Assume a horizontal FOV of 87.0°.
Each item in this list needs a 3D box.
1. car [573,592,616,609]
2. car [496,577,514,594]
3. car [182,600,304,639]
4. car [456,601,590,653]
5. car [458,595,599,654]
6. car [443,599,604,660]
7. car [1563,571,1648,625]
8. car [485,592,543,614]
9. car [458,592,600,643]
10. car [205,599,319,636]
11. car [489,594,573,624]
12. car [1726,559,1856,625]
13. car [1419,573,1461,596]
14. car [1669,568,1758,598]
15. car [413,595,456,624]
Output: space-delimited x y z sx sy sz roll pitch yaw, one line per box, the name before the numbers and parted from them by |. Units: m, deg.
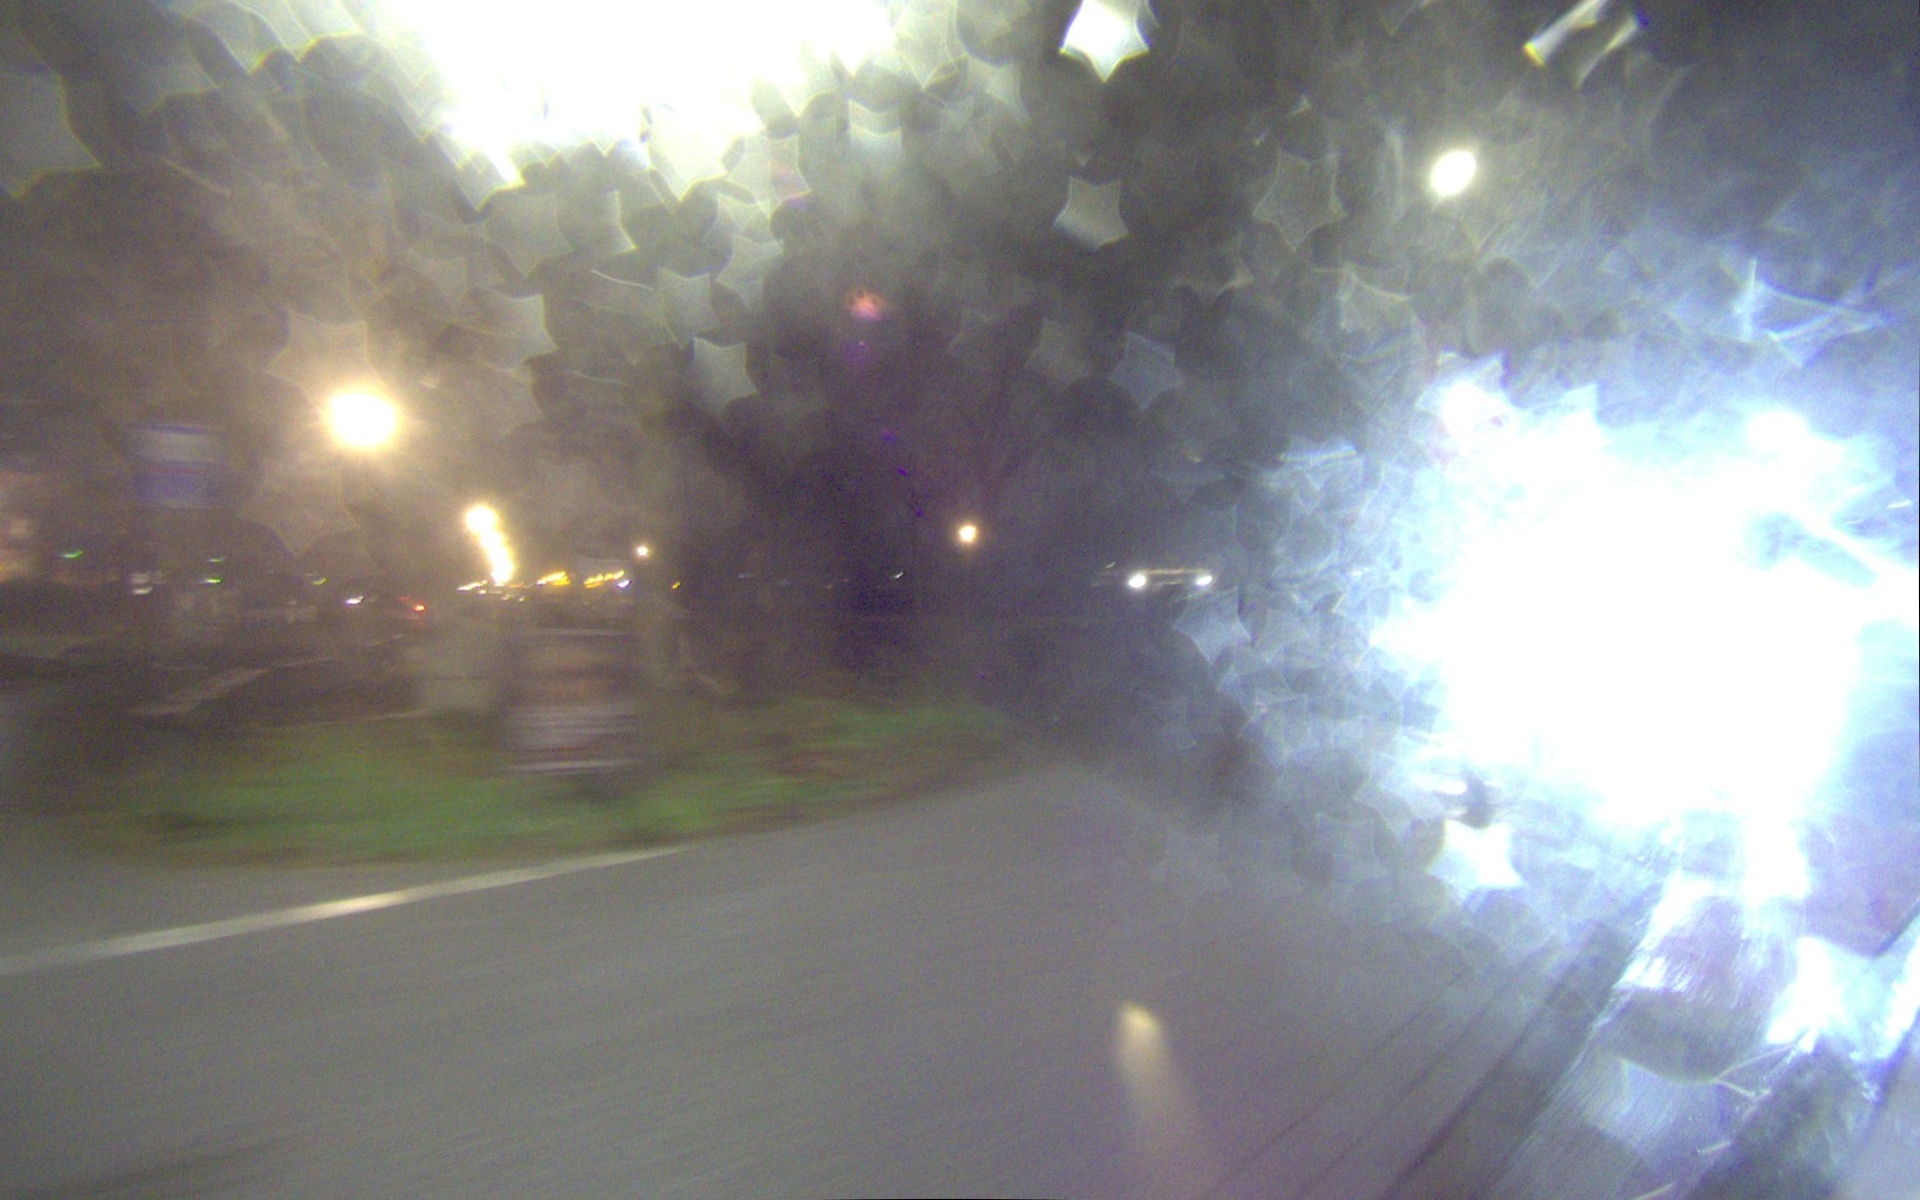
car | -36.368 0.048 100.685 3.917 1.504 2.004 -2 2 -23
car | -57.463 -1.823 127.922 1.959 2.039 4.007 -2 1 -23
car | -32.018 0.837 45.348 4.099 1.517 2.004 -2 2 -24
car | -15.015 0.878 34.995 4.098 1.540 2.004 -2 1 -20
car | -12.957 0.687 30.477 3.801 1.587 1.493 -2 0 -25
car | -11.940 0.767 27.765 3.939 1.466 1.489 -2 0 -25
car | 19.398 -0.090 30.566 1.984 1.484 5.043 -1 1 31
car | -34.304 0.198 77.957 3.917 1.504 2.004 -2 1 -21
car | -15.939 0.634 37.734 4.713 1.657 2.004 -2 0 -20
car | -32.863 0.790 47.794 4.099 1.517 2.004 -2 2 -24
car | -23.490 0.466 55.589 4.098 1.517 2.004 -1 0 -20
car | 22.389 -0.247 27.474 1.984 1.602 5.141 -1 1 31
car | 44.356 -1.441 93.528 3.928 2.038 1.999 -3 2 -38
car | 39.973 -0.900 53.712 3.916 1.470 1.772 -2 0 -17
car | -32.853 0.564 63.394 1.958 1.695 4.008 -2 1 -22
